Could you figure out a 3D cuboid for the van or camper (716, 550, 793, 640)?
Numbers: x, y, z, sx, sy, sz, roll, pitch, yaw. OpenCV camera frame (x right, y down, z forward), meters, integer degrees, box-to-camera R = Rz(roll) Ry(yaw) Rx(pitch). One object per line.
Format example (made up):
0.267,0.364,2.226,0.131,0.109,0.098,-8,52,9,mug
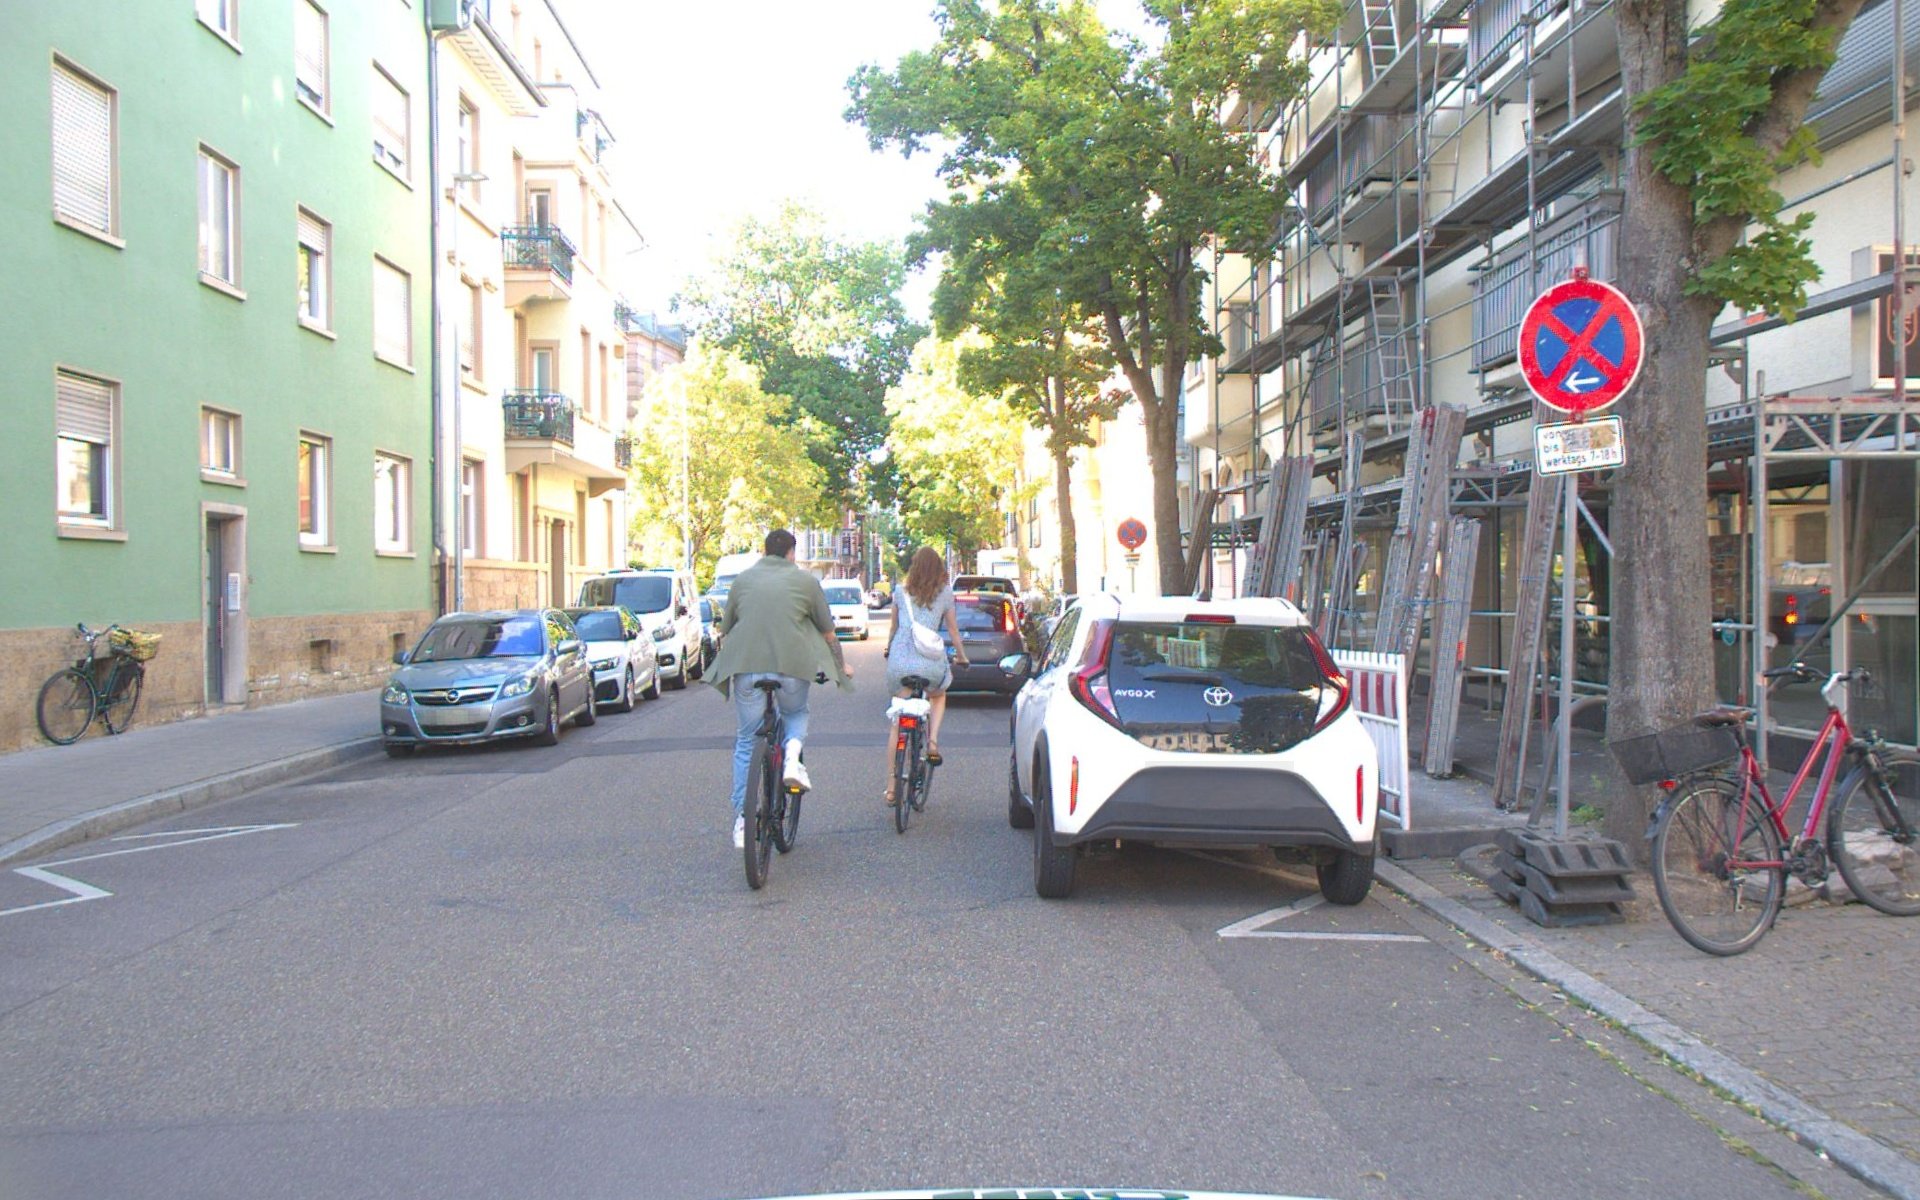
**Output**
-6.254,-0.178,50.818,1.954,2.597,5.020,-1,1,-3,van or camper

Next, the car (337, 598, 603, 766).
-5.271,0.799,18.373,1.941,1.480,4.109,-4,1,-5,car

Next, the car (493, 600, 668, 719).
-5.292,0.780,23.486,1.652,1.479,3.709,-2,0,-1,car

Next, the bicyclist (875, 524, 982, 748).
-0.222,0.254,10.890,0.611,1.405,0.867,-1,-4,-5,bicyclist

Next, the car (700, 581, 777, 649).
-5.953,0.370,44.827,1.676,1.729,3.999,-1,1,-2,car

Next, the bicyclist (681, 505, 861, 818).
-1.003,0.333,8.967,0.864,1.589,0.867,-1,-3,-1,bicyclist

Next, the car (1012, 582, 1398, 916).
1.214,0.694,9.508,1.641,1.572,3.402,0,0,-1,car

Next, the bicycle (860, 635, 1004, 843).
-0.235,0.861,11.064,0.822,1.169,2.231,1,1,-4,bicycle

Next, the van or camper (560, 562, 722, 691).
-5.518,0.407,29.236,1.953,2.049,4.910,-2,0,-1,van or camper

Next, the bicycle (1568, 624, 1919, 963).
3.692,0.768,7.158,1.951,1.185,0.722,-4,1,-20,bicycle

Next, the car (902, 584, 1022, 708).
0.018,0.581,23.146,1.525,1.559,3.486,1,1,0,car

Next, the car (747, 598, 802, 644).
-6.876,0.755,61.604,1.676,1.587,3.999,-1,1,-2,car

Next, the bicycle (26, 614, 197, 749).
-8.482,0.777,16.651,0.539,1.198,2.278,2,0,-1,bicycle

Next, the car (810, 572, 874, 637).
-3.617,0.121,51.360,1.746,1.893,4.198,-1,0,-1,car

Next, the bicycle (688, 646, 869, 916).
-0.927,0.869,8.791,0.822,1.169,2.230,-1,0,-5,bicycle
